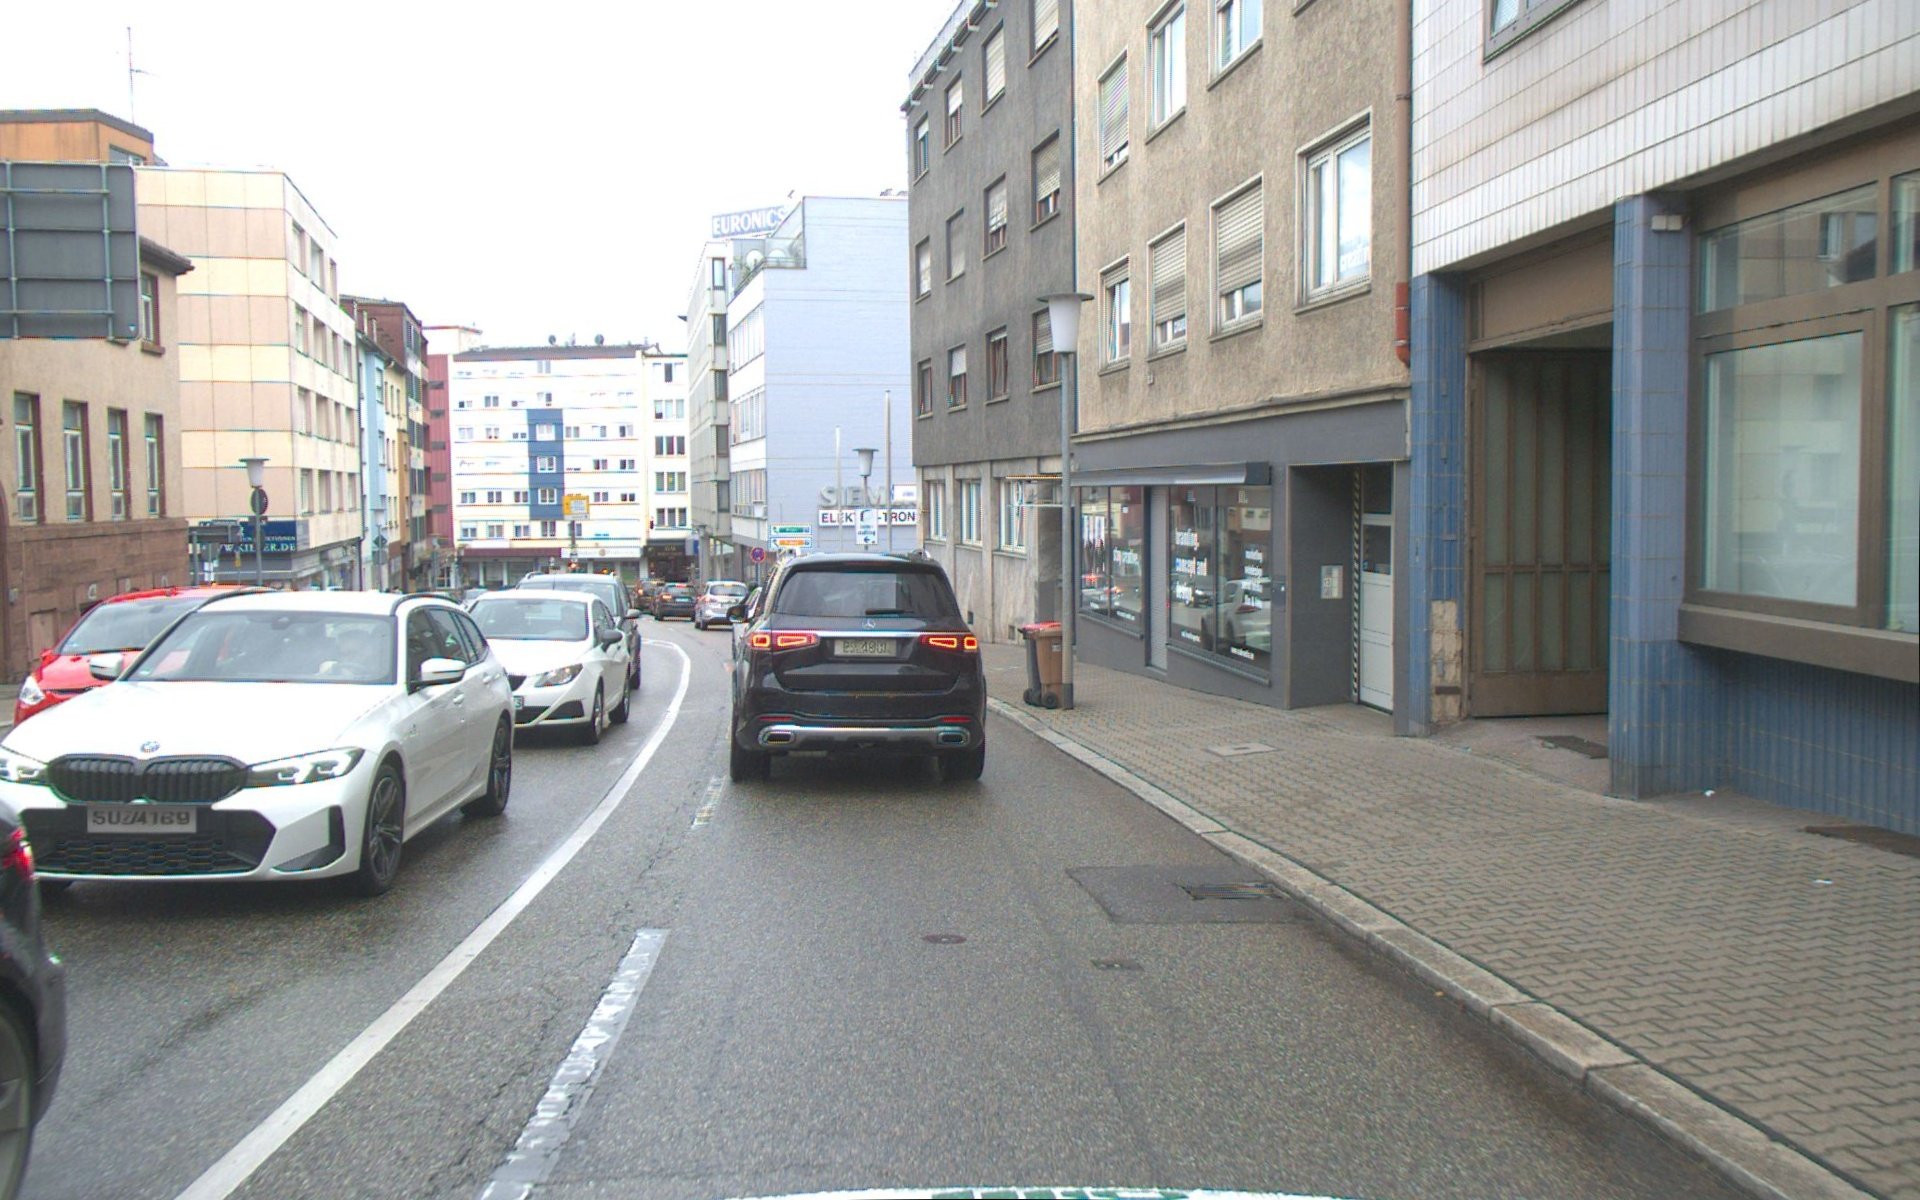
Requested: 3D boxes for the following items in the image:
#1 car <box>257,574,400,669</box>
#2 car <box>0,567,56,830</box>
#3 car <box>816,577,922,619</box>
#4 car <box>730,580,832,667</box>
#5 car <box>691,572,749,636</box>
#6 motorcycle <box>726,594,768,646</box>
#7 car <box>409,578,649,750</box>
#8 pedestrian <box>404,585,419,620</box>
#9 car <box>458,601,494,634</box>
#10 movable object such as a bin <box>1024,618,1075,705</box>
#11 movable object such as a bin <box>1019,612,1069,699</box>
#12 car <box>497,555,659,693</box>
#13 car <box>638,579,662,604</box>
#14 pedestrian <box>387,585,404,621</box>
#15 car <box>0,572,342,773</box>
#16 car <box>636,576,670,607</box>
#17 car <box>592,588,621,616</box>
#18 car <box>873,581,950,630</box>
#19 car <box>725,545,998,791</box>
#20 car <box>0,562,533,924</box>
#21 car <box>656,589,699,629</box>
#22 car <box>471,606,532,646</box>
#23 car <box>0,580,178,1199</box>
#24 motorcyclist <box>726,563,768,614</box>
[{"bbox_3d":[-12.088,0.389,31.885,1.624,1.638,3.922,-3,0,-7],"label":"car"},{"bbox_3d":[-6.859,0.665,8.919,1.771,1.660,4.338,-3,0,-4],"label":"car"},{"bbox_3d":[-3.654,-0.060,66.729,3.949,1.625,1.779,1,-1,-33],"label":"car"},{"bbox_3d":[-3.562,0.435,32.508,1.796,1.487,4.371,-3,0,-8],"label":"car"},{"bbox_3d":[-7.939,0.106,54.544,1.722,1.810,3.567,0,5,-12],"label":"car"},{"bbox_3d":[-5.550,0.498,42.980,0.852,1.075,2.932,0,5,-12],"label":"motorcycle"},{"bbox_3d":[-4.278,0.582,17.037,1.665,1.506,4.286,1,0,-5],"label":"car"},{"bbox_3d":[-26.739,0.127,80.683,0.660,1.680,0.603,0,4,-17],"label":"pedestrian"},{"bbox_3d":[-25.822,0.927,88.328,1.687,1.614,4.125,-3,0,-16],"label":"car"},{"bbox_3d":[1.051,0.721,19.543,0.514,0.966,0.537,0,4,-5],"label":"movable object such as a bin"},{"bbox_3d":[1.016,0.673,20.102,0.514,0.997,0.537,0,4,-5],"label":"movable object such as a bin"},{"bbox_3d":[-5.334,0.316,23.599,1.773,1.735,4.554,1,0,-8],"label":"car"},{"bbox_3d":[-20.061,-0.584,106.852,1.495,1.575,3.099,0,1,-11],"label":"car"},{"bbox_3d":[-27.478,0.145,80.558,0.728,1.680,0.603,0,4,-17],"label":"pedestrian"},{"bbox_3d":[-7.193,0.580,15.429,1.707,1.542,4.124,-3,0,-7],"label":"car"},{"bbox_3d":[-16.249,-0.450,87.418,1.497,1.575,3.095,0,1,-15],"label":"car"},{"bbox_3d":[-17.359,0.104,81.356,1.262,1.143,2.782,0,5,-10],"label":"car"},{"bbox_3d":[-1.649,0.151,54.564,1.765,1.503,4.472,1,0,-12],"label":"car"},{"bbox_3d":[-0.916,0.472,14.369,1.981,1.770,4.742,0,0,-5],"label":"car"},{"bbox_3d":[-3.739,0.618,9.477,1.771,1.548,4.556,-1,0,-5],"label":"car"},{"bbox_3d":[-11.826,0.340,69.136,1.497,1.575,3.095,0,1,-15],"label":"car"},{"bbox_3d":[-18.528,1.042,66.976,1.666,1.506,4.284,1,0,-7],"label":"car"},{"bbox_3d":[-2.843,0.690,1.999,1.770,1.439,4.378,-1,0,-1],"label":"car"},{"bbox_3d":[-5.527,-0.322,42.810,0.852,1.075,2.932,0,5,-12],"label":"motorcyclist"}]
